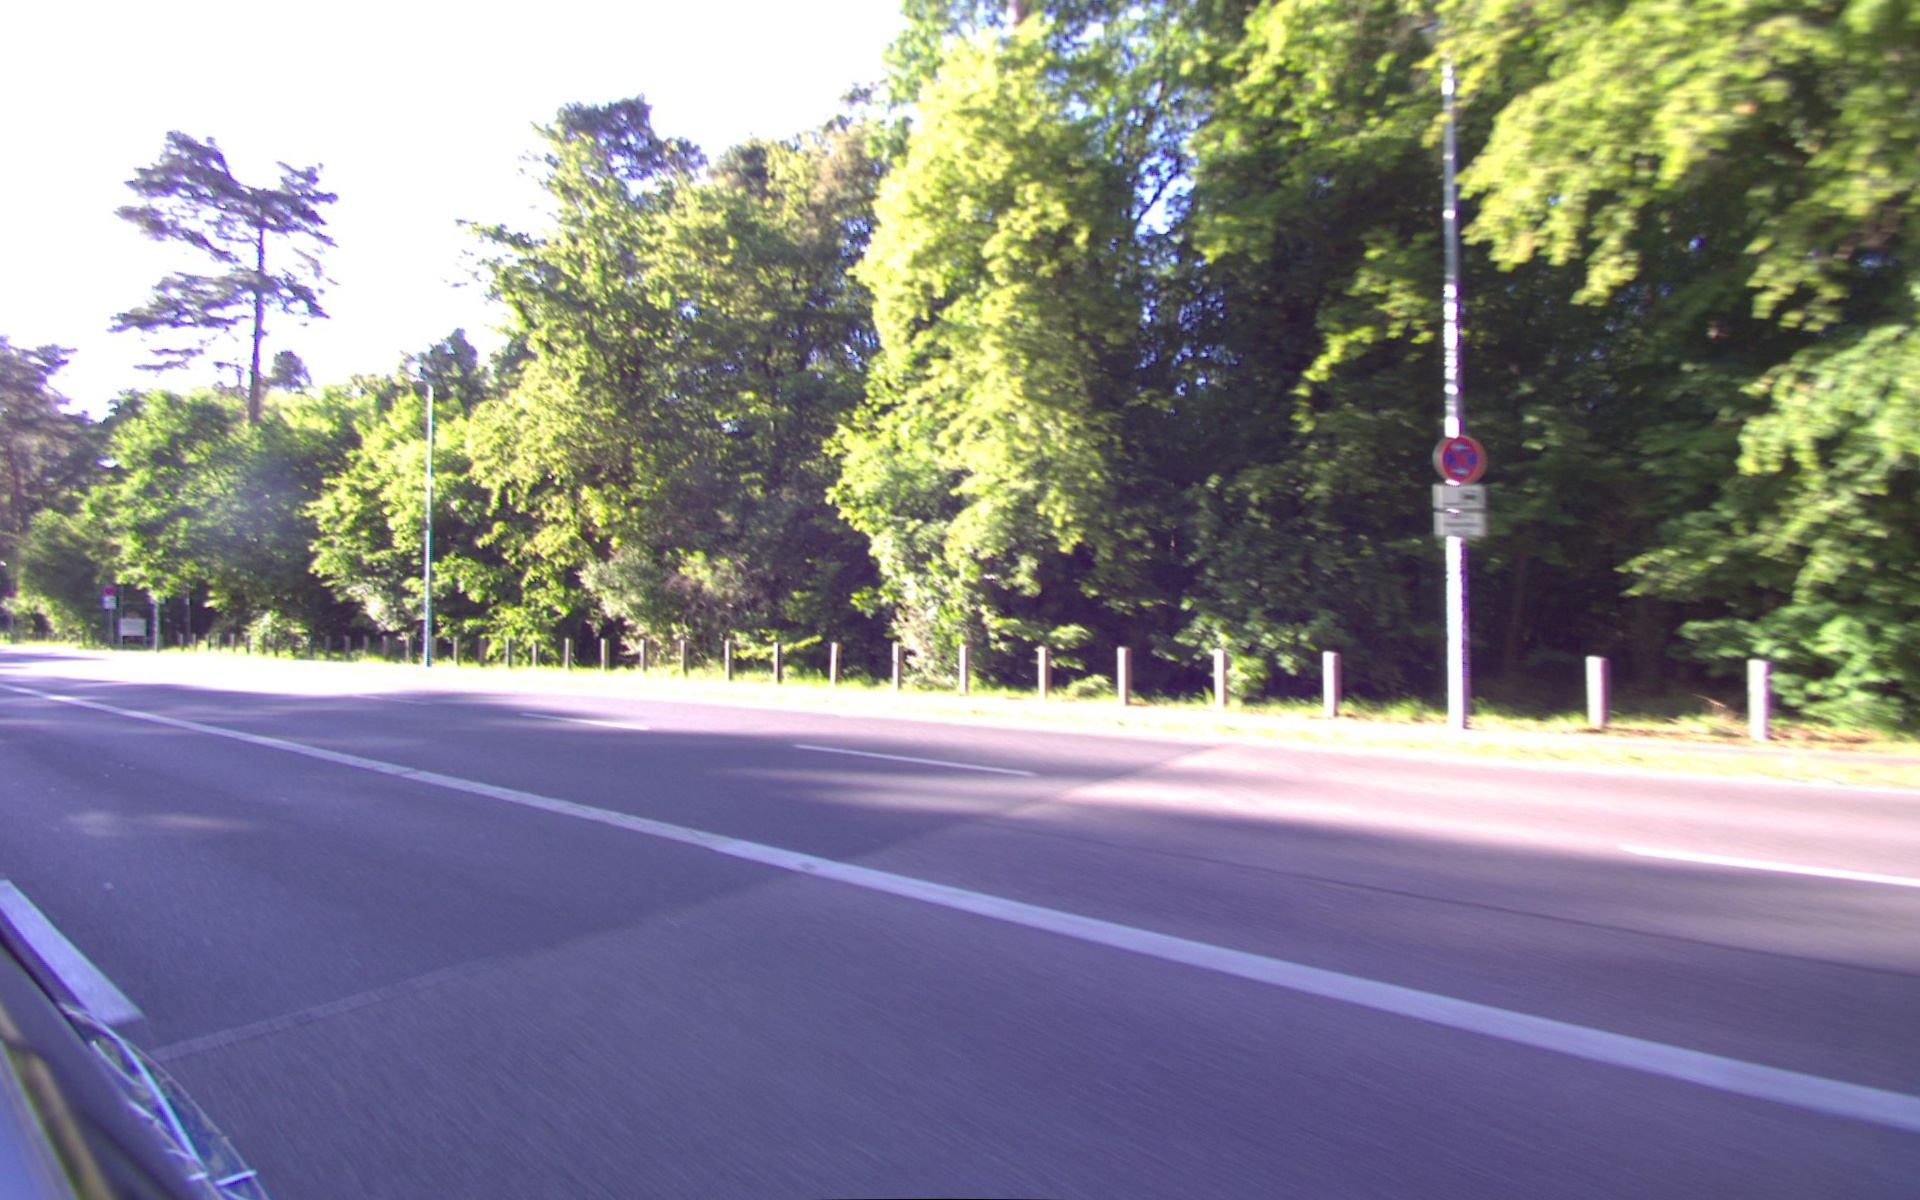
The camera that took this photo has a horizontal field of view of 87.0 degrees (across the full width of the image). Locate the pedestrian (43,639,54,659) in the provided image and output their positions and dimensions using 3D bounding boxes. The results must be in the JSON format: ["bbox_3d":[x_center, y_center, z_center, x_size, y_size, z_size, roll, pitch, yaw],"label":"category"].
[{"bbox_3d":[-61.979,3.310,68.803,0.512,1.325,0.466,-2,-2,38],"label":"pedestrian"}]
